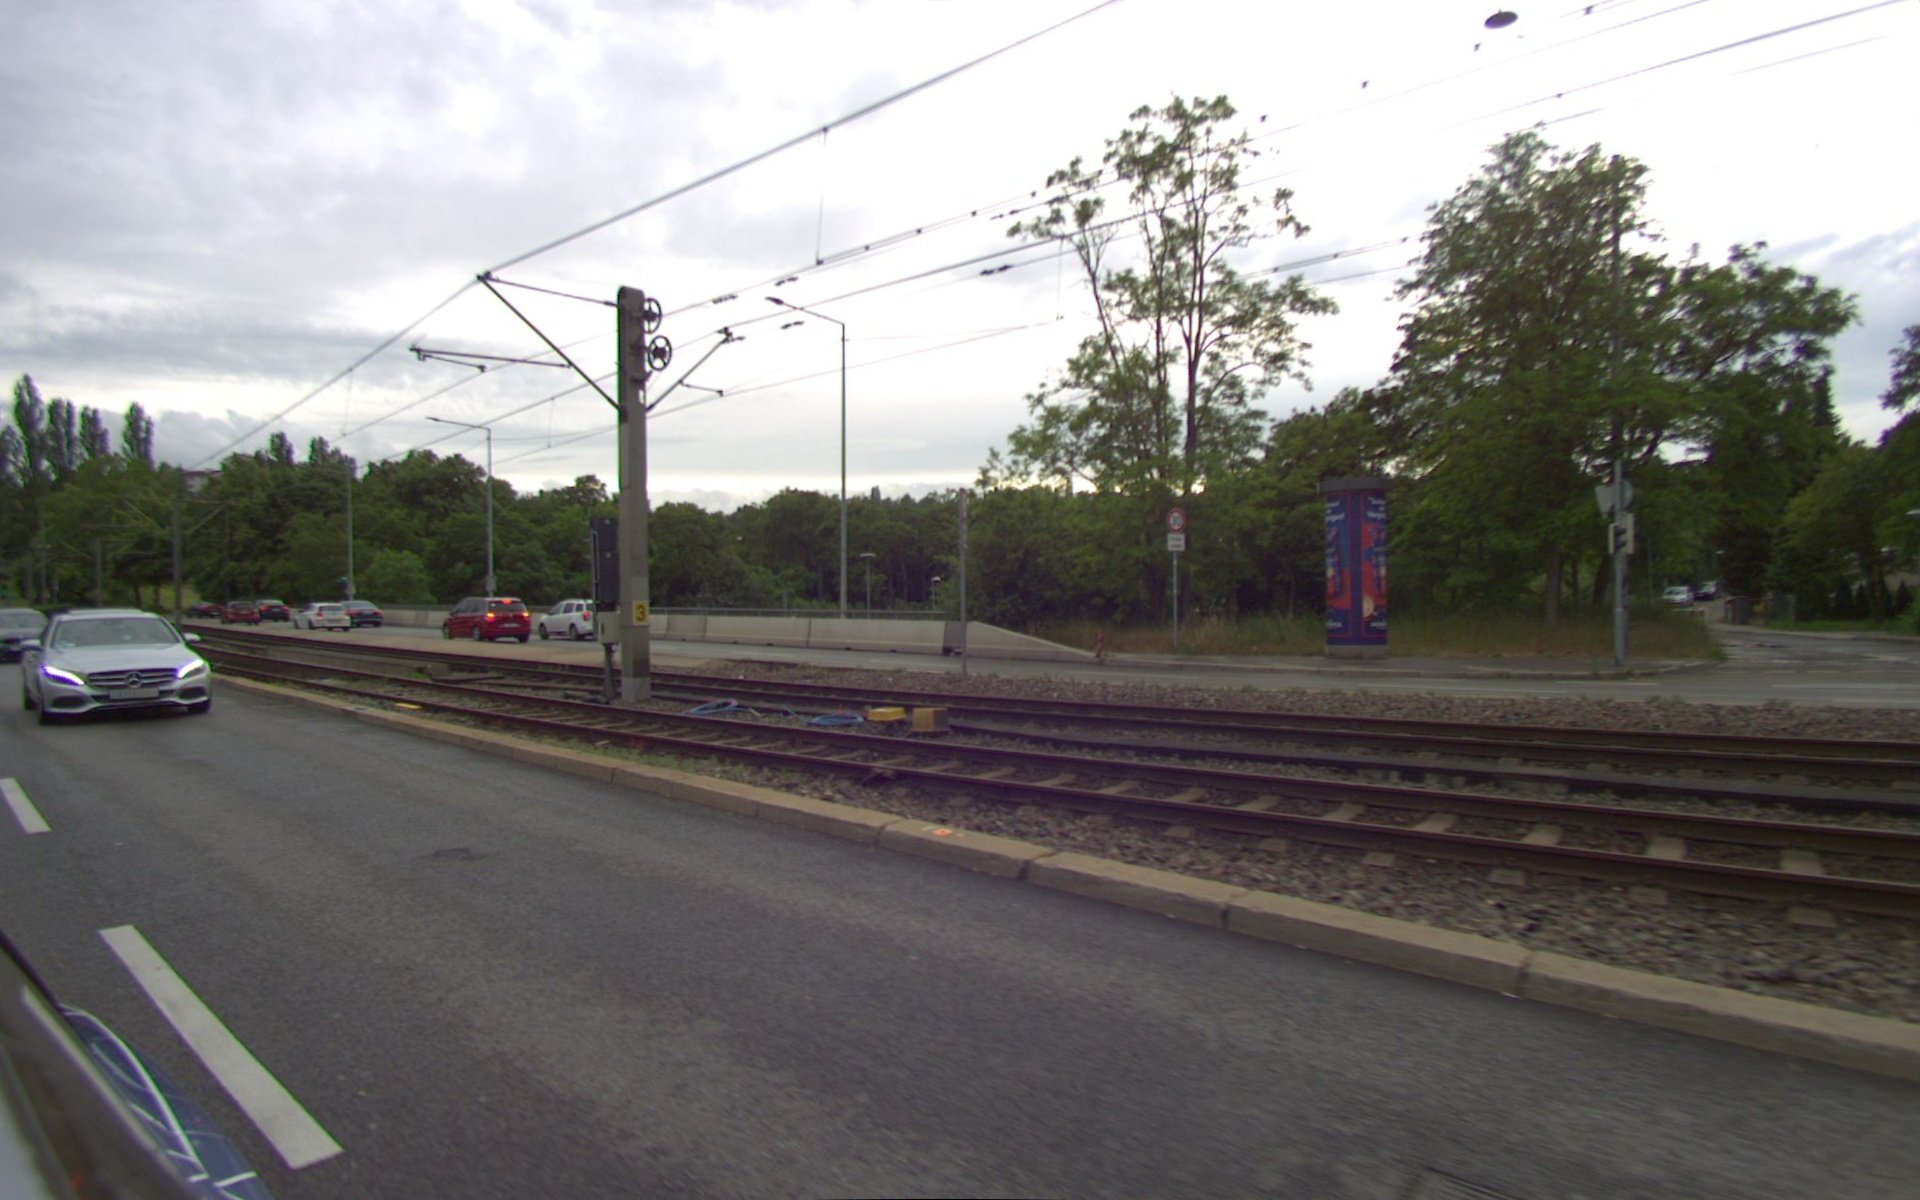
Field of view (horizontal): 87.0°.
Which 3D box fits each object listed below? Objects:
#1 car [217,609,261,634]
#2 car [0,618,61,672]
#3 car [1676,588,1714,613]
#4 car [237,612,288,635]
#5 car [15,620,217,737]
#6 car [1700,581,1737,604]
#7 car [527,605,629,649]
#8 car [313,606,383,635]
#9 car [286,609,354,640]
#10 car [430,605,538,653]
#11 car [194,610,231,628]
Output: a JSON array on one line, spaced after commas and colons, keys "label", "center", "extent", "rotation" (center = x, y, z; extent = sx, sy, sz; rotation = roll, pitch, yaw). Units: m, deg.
[{"label": "car", "center": [-45.909, 1.356, 64.413], "extent": [3.016, 1.504, 1.584], "rotation": [1, 0, 41]}, {"label": "car", "center": [-26.469, 1.219, 28.301], "extent": [4.002, 1.362, 1.712], "rotation": [0, 1, 45]}, {"label": "car", "center": [59.082, 0.088, 81.288], "extent": [1.881, 1.830, 3.942], "rotation": [-4, -4, 44]}, {"label": "car", "center": [-49.745, 1.677, 72.134], "extent": [4.729, 1.609, 1.876], "rotation": [-1, -1, 41]}, {"label": "car", "center": [-12.055, 0.993, 14.358], "extent": [1.846, 1.366, 4.062], "rotation": [-1, 0, -45]}, {"label": "car", "center": [65.360, -0.643, 87.223], "extent": [2.001, 1.874, 3.942], "rotation": [-4, -3, 44]}, {"label": "car", "center": [-14.555, 0.983, 38.431], "extent": [4.529, 1.526, 1.801], "rotation": [0, 1, 43]}, {"label": "car", "center": [-35.046, 1.173, 57.857], "extent": [5.182, 1.609, 1.948], "rotation": [-1, -1, 41]}, {"label": "car", "center": [-32.398, 1.187, 51.172], "extent": [4.490, 1.447, 1.712], "rotation": [0, 0, 41]}, {"label": "car", "center": [-17.345, 1.030, 36.766], "extent": [4.729, 1.609, 1.829], "rotation": [-1, -1, 41]}, {"label": "car", "center": [-63.518, 1.615, 85.949], "extent": [4.742, 1.447, 1.796], "rotation": [-1, 0, 45]}]
